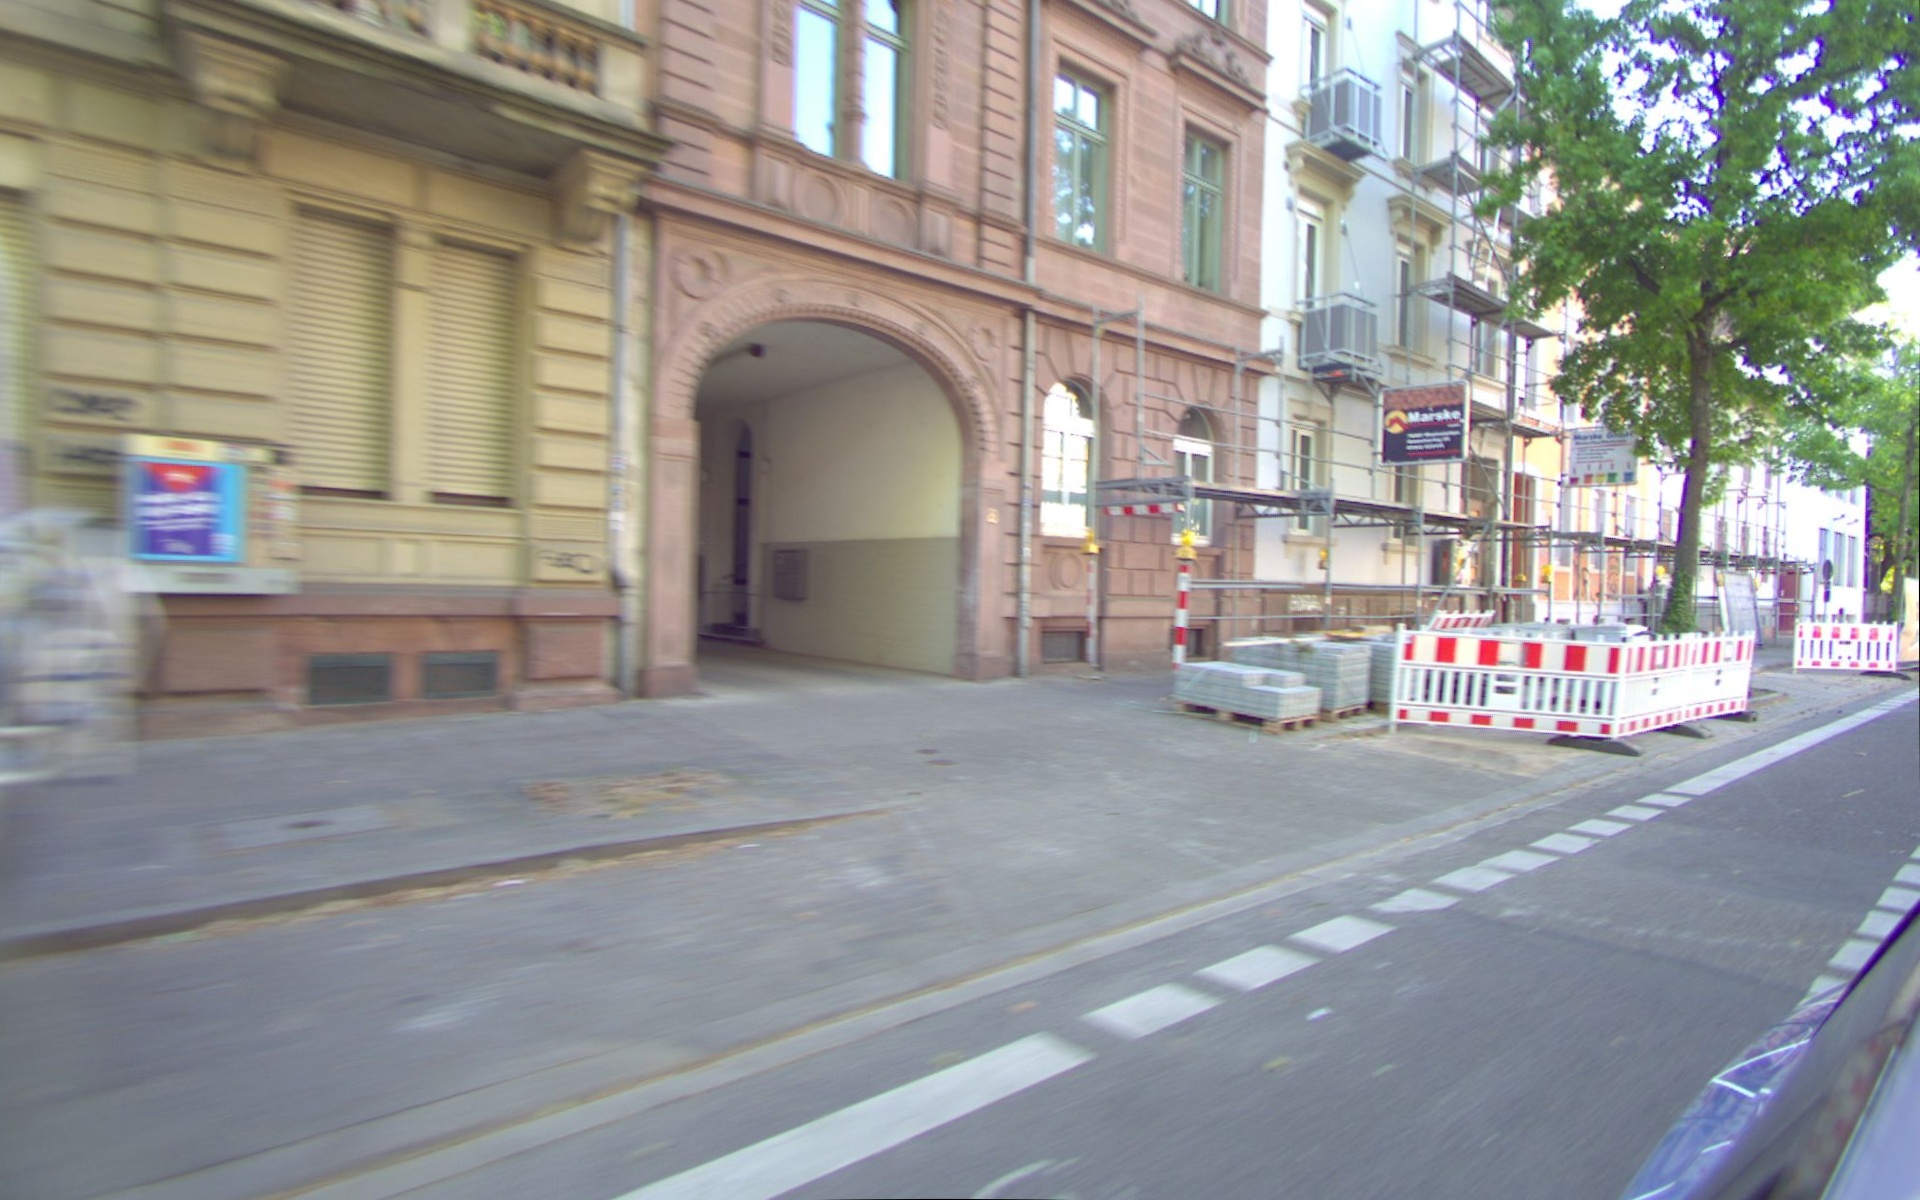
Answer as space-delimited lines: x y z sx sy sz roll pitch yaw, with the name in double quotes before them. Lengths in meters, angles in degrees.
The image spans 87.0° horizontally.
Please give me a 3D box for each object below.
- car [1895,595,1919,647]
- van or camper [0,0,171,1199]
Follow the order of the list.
"car" 29.942 0.649 30.606 4.034 1.502 1.769 0 2 -38
"van or camper" -5.266 -0.189 0.449 7.740 3.007 2.485 0 5 -38
